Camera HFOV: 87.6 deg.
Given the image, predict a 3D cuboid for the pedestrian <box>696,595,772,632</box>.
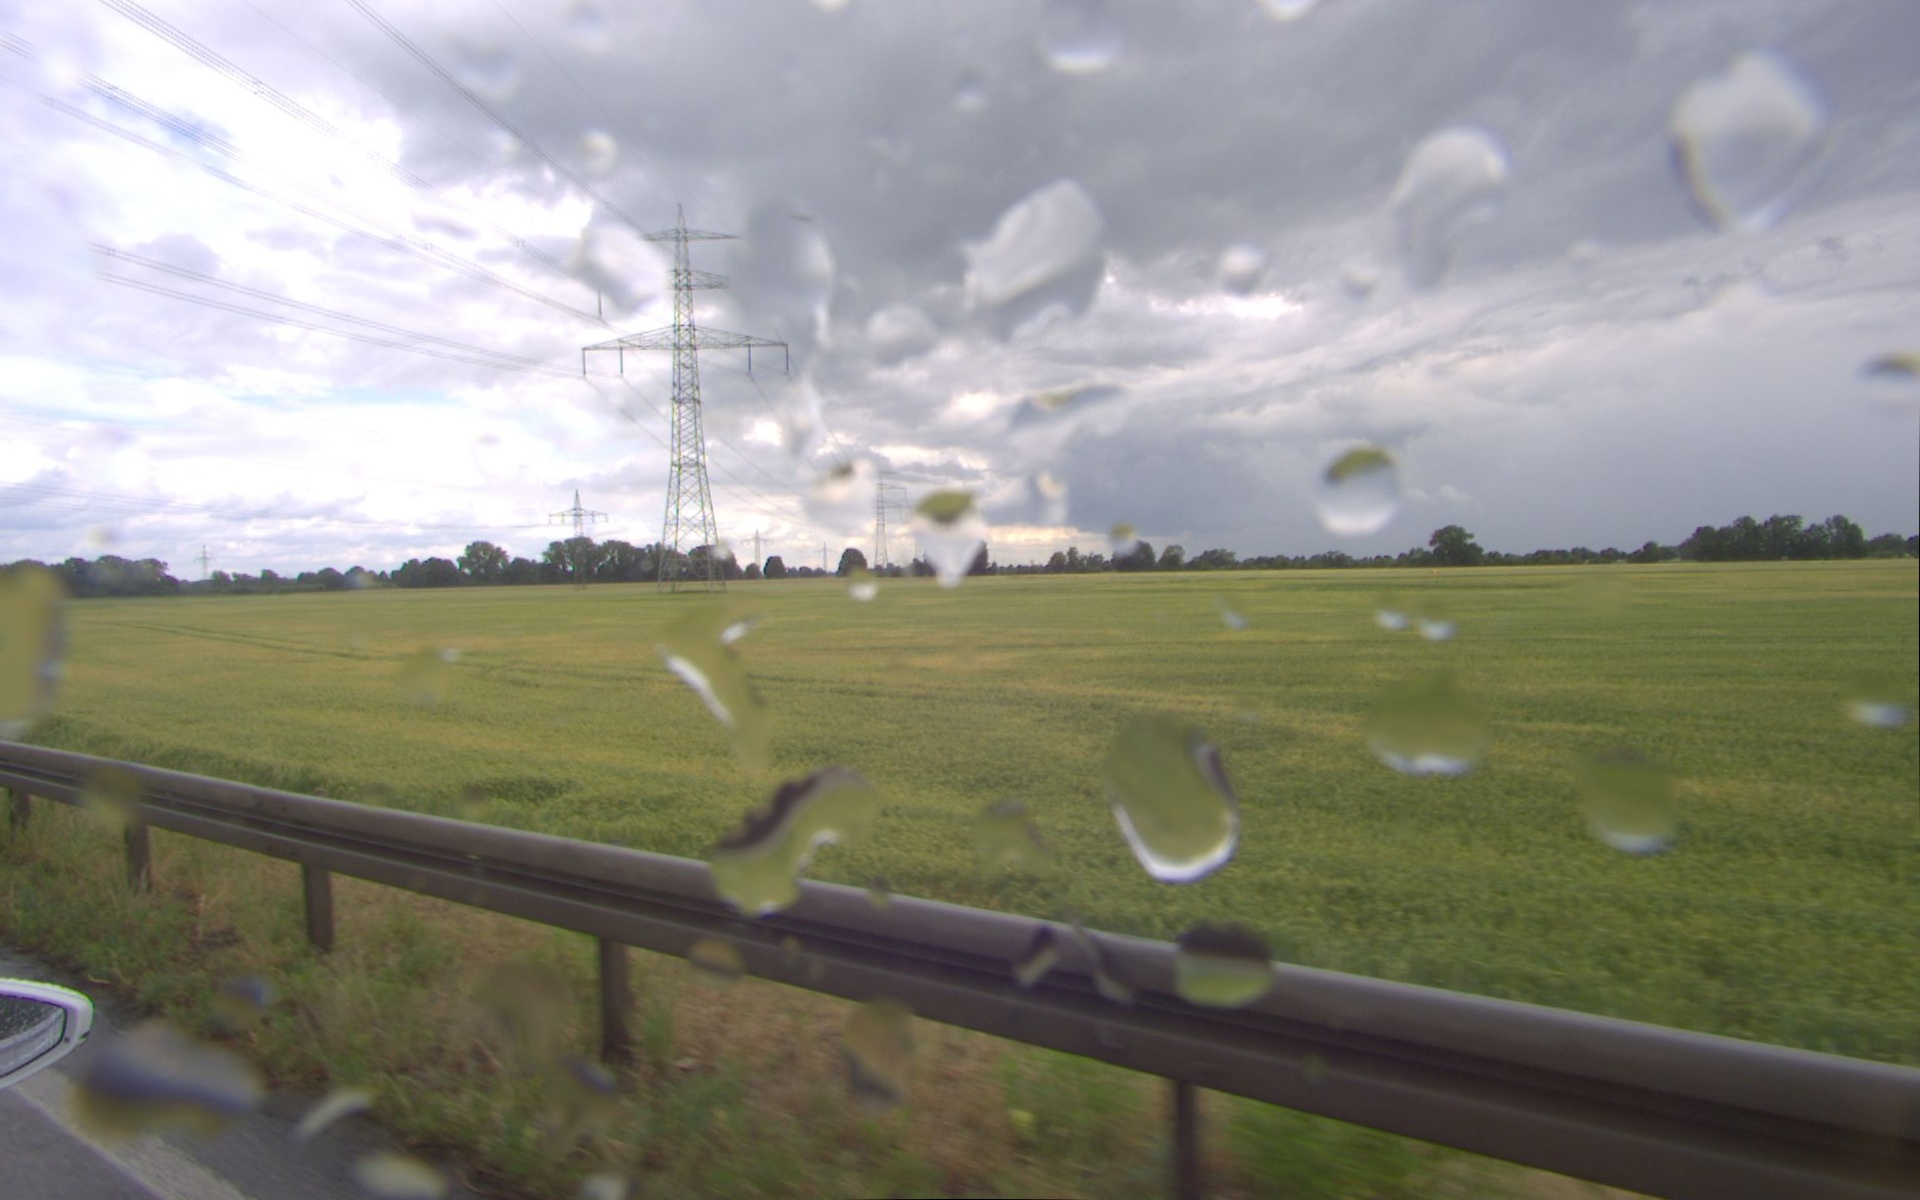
[{"bbox_3d":[-12.825,0.787,56.743,3.941,2.039,1.991,-1,-2,30],"label":"pedestrian"}]
